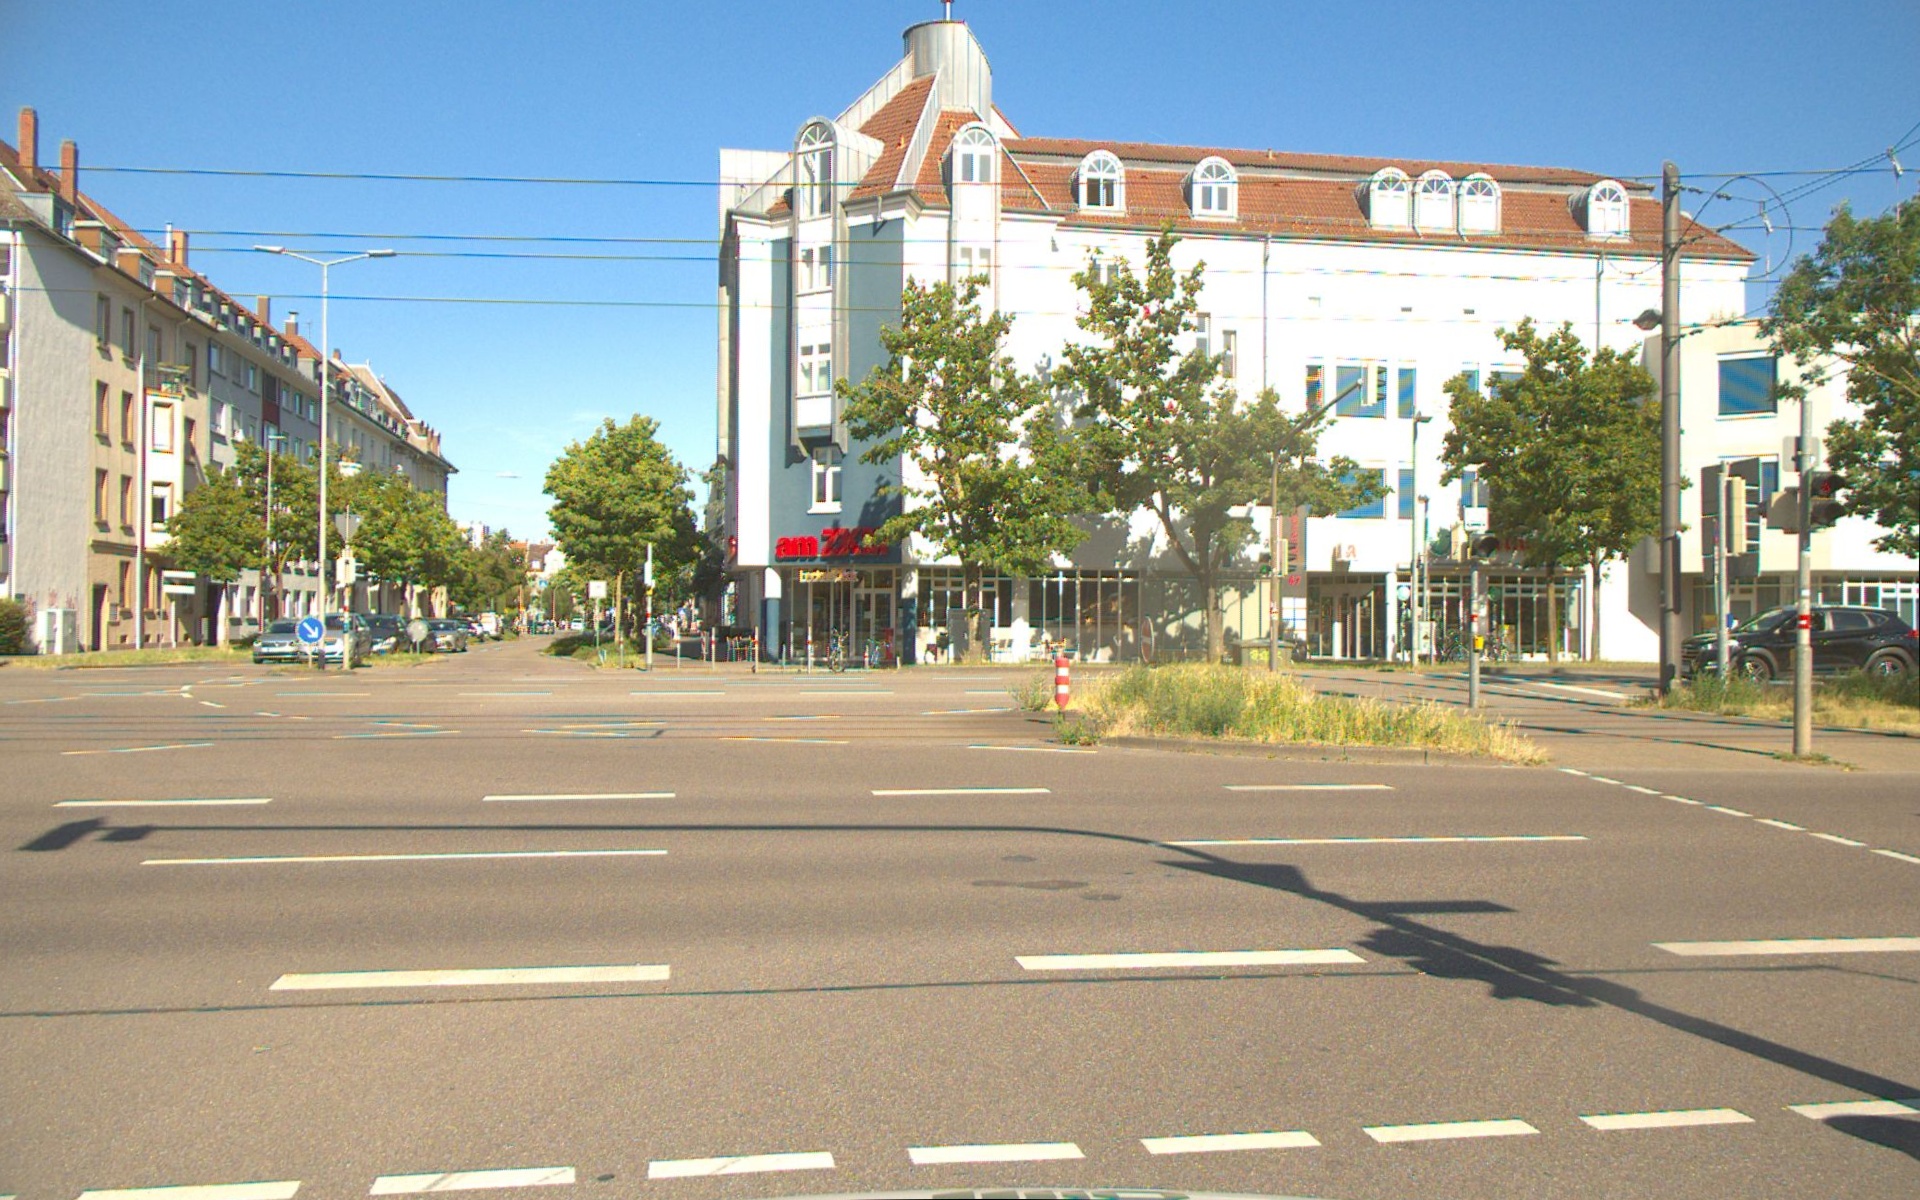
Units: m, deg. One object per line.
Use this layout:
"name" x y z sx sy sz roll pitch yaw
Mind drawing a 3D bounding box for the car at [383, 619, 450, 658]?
"car" -21.648 1.536 66.053 1.656 1.457 4.392 3 -2 -7

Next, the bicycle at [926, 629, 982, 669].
"bicycle" -0.152 1.301 44.204 1.480 1.045 0.473 0 -1 1

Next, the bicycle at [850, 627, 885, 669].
"bicycle" -2.363 1.206 42.064 0.465 1.045 1.506 0 -1 -21

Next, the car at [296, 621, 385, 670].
"car" -19.924 1.459 53.370 1.656 1.457 4.392 3 -2 -7

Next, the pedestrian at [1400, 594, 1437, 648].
"pedestrian" 14.983 0.697 54.024 0.972 1.753 0.652 0 -1 -11

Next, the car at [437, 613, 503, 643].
"car" -35.804 2.068 120.921 4.426 2.049 1.993 1 -2 -13

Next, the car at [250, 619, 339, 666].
"car" -22.520 1.431 56.147 1.656 1.457 4.392 3 -2 -7

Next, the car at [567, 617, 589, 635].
"car" -40.662 2.755 176.168 1.957 1.787 4.509 1 -2 -10

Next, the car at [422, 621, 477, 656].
"car" -23.000 1.720 74.632 1.657 1.457 4.391 3 -2 -8

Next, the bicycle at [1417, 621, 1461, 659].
"bicycle" 15.209 1.256 52.592 0.550 1.203 1.865 0 -1 -11

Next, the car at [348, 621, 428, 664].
"car" -20.742 1.543 60.122 1.655 1.457 4.394 3 -2 -5

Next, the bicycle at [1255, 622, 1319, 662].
"bicycle" 9.912 1.263 50.178 1.832 1.203 0.560 0 -1 -14

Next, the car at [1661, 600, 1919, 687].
"car" 16.240 0.833 32.101 4.409 1.638 2.000 0 -1 -1

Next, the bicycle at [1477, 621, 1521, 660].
"bicycle" 17.088 1.279 52.494 0.550 1.203 1.866 0 -1 -8

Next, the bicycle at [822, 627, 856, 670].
"bicycle" -3.028 1.205 41.422 0.464 1.045 1.507 0 -1 -20

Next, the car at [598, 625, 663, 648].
"car" -18.451 2.052 92.701 3.505 1.245 1.725 1 -2 -13

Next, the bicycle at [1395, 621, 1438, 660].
"bicycle" 14.387 1.251 52.137 0.550 1.203 1.865 0 -1 -11
